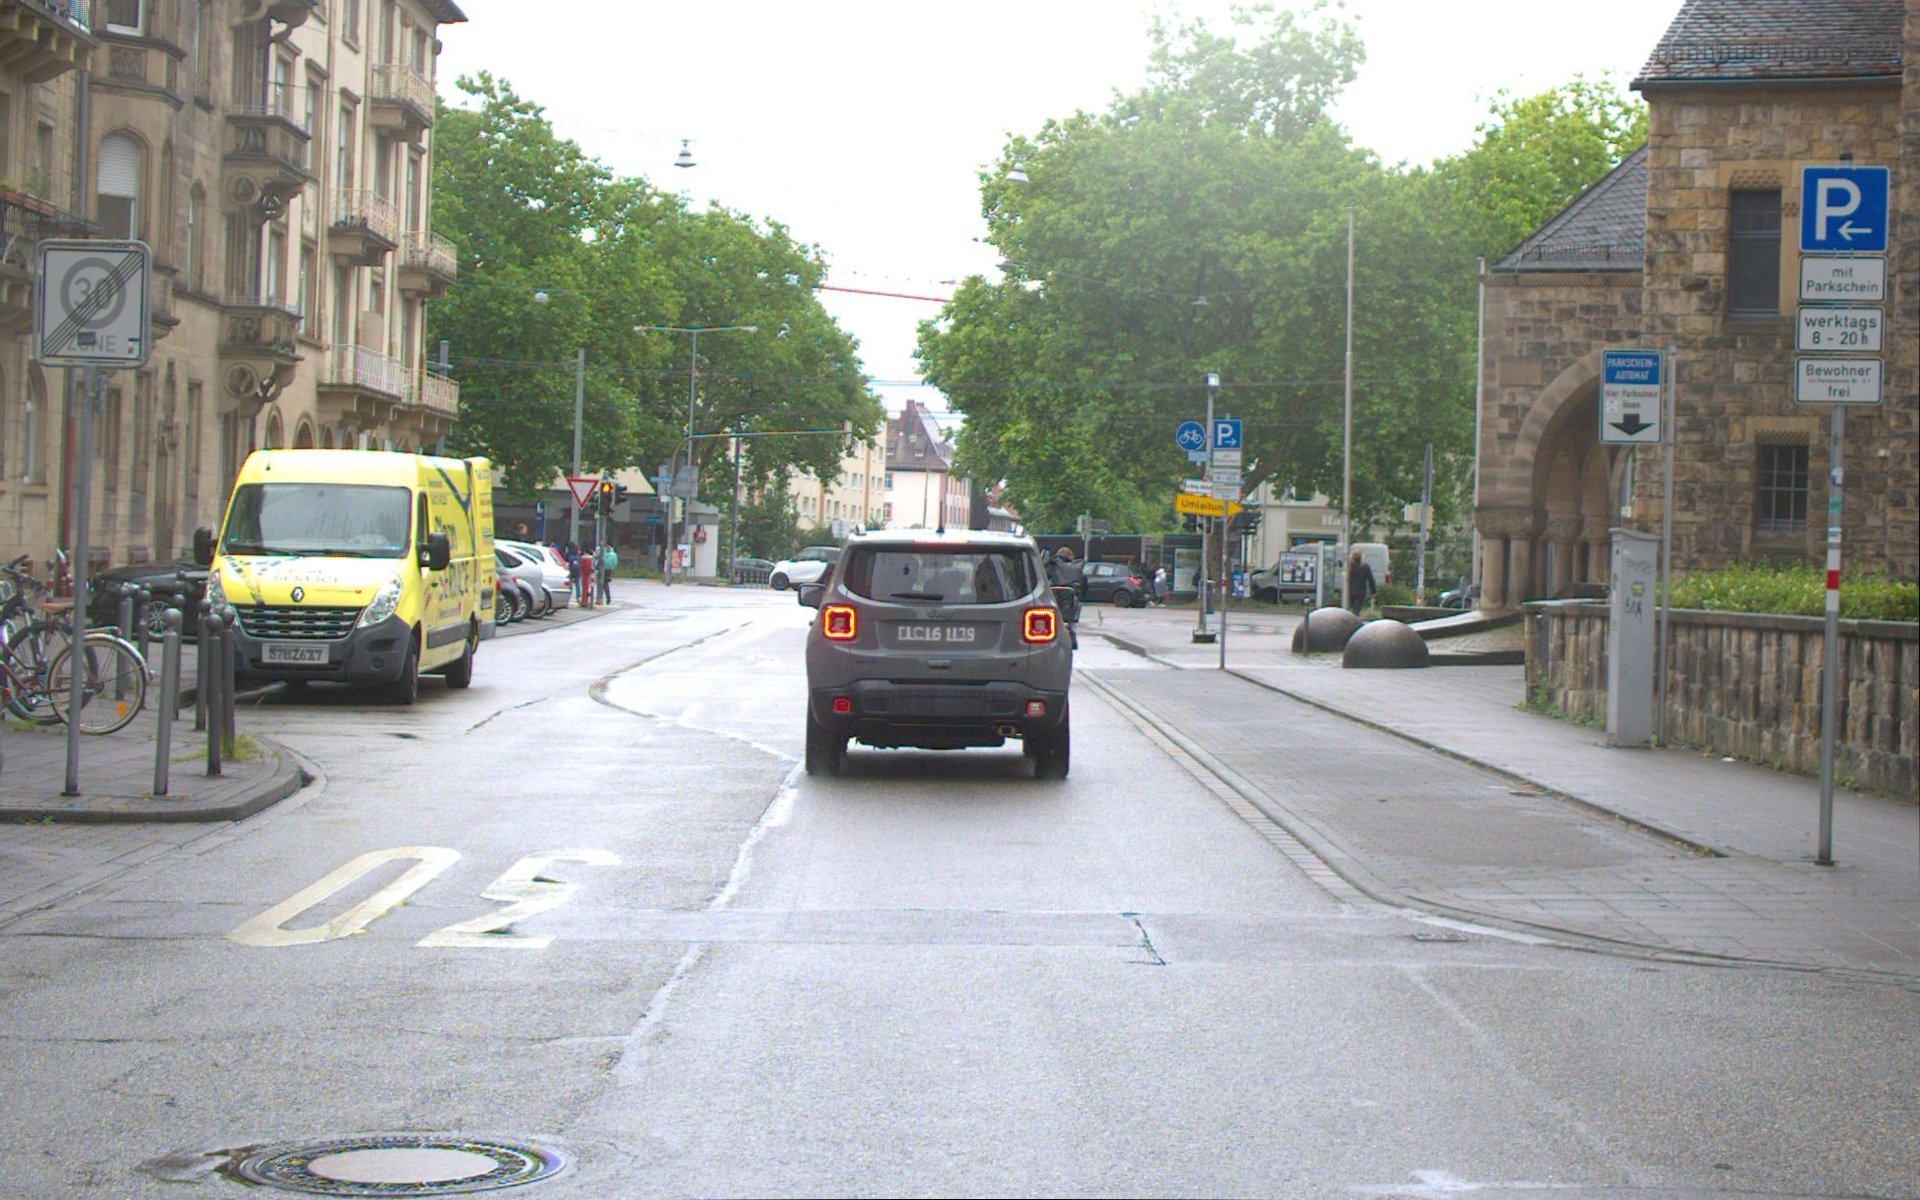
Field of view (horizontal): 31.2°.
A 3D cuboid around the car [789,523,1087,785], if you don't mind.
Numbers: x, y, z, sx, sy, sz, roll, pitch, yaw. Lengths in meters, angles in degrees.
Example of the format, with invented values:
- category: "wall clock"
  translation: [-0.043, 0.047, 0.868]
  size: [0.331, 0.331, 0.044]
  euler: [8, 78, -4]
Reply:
- category: "car"
  translation: [-0.201, 0.326, 24.618]
  size: [1.898, 1.665, 4.506]
  euler: [1, 1, -1]

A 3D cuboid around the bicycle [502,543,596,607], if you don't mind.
- category: "bicycle"
  translation: [-9.518, -0.582, 79.583]
  size: [2.092, 1.439, 0.491]
  euler: [1, 1, -20]

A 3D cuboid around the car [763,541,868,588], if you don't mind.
- category: "car"
  translation: [-4.865, -1.196, 115.638]
  size: [3.190, 1.495, 1.540]
  euler: [1, 1, 17]

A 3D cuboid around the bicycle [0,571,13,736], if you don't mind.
- category: "bicycle"
  translation: [-7.313, 0.308, 22.727]
  size: [1.914, 1.093, 0.506]
  euler: [3, 1, 0]

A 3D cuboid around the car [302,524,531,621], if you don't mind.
- category: "car"
  translation: [-9.924, -0.498, 62.859]
  size: [3.653, 1.553, 1.809]
  euler: [3, 0, -37]

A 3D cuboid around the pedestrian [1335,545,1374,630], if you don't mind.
- category: "pedestrian"
  translation: [7.981, -0.256, 69.557]
  size: [0.690, 1.705, 0.684]
  euler: [1, 1, 0]

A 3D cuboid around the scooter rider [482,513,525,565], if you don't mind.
- category: "scooter rider"
  translation: [-11.175, -1.499, 84.211]
  size: [0.880, 1.216, 0.984]
  euler: [2, -1, 0]

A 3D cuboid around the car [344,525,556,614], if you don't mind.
- category: "car"
  translation: [-9.794, -0.583, 66.057]
  size: [3.496, 1.513, 1.885]
  euler: [3, 0, -34]

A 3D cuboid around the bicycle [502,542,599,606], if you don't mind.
- category: "bicycle"
  translation: [-9.368, -0.597, 78.591]
  size: [2.109, 1.439, 0.539]
  euler: [1, 1, -20]

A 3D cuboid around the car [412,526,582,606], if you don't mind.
- category: "car"
  translation: [-10.107, -0.732, 75.095]
  size: [3.245, 1.553, 1.535]
  euler: [3, 0, -34]

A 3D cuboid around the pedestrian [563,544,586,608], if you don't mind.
- category: "pedestrian"
  translation: [-9.694, -0.602, 86.500]
  size: [0.467, 1.580, 0.659]
  euler: [1, 1, -1]

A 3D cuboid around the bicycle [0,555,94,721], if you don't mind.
- category: "bicycle"
  translation: [-7.491, 0.253, 25.674]
  size: [1.807, 1.208, 0.631]
  euler: [4, -1, -36]

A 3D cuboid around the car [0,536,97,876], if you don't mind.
- category: "car"
  translation: [-6.042, 0.396, 15.299]
  size: [3.818, 1.502, 1.989]
  euler: [2, 0, -30]

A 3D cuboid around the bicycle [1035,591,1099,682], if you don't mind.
- category: "bicycle"
  translation: [1.294, 0.431, 41.903]
  size: [0.705, 1.050, 1.813]
  euler: [1, 1, 0]

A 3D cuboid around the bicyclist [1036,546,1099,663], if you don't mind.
- category: "bicyclist"
  translation: [1.303, 0.045, 41.899]
  size: [0.705, 1.399, 1.171]
  euler: [1, 1, 0]

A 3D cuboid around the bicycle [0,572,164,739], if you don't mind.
- category: "bicycle"
  translation: [-6.745, 0.356, 24.150]
  size: [2.116, 1.093, 0.594]
  euler: [3, 1, 0]

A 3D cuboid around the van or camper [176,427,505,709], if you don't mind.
- category: "van or camper"
  translation: [-6.139, -0.232, 34.955]
  size: [2.121, 2.522, 6.875]
  euler: [-2, -1, -1]

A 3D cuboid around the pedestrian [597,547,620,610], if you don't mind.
- category: "pedestrian"
  translation: [-8.909, -0.559, 87.166]
  size: [0.467, 1.580, 0.752]
  euler: [1, 1, -1]

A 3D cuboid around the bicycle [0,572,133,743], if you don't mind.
- category: "bicycle"
  translation: [-6.777, 0.347, 23.324]
  size: [2.132, 1.093, 0.594]
  euler: [3, 1, 0]

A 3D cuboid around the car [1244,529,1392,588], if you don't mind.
- category: "car"
  translation: [14.623, -1.699, 140.781]
  size: [5.905, 2.326, 2.059]
  euler: [1, 1, 3]

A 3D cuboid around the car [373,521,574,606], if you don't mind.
- category: "car"
  translation: [-10.158, -0.751, 71.791]
  size: [3.729, 1.553, 1.672]
  euler: [3, 0, -34]

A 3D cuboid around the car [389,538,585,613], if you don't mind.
- category: "car"
  translation: [-9.505, -0.484, 69.172]
  size: [3.413, 1.311, 1.779]
  euler: [3, 0, -34]

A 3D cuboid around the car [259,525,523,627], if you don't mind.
- category: "car"
  translation: [-9.449, -0.391, 57.188]
  size: [3.842, 1.474, 1.885]
  euler: [3, 0, -41]

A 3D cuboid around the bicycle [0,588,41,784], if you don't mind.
- category: "bicycle"
  translation: [-6.190, 0.445, 19.598]
  size: [1.722, 1.093, 0.506]
  euler: [3, 1, -5]
